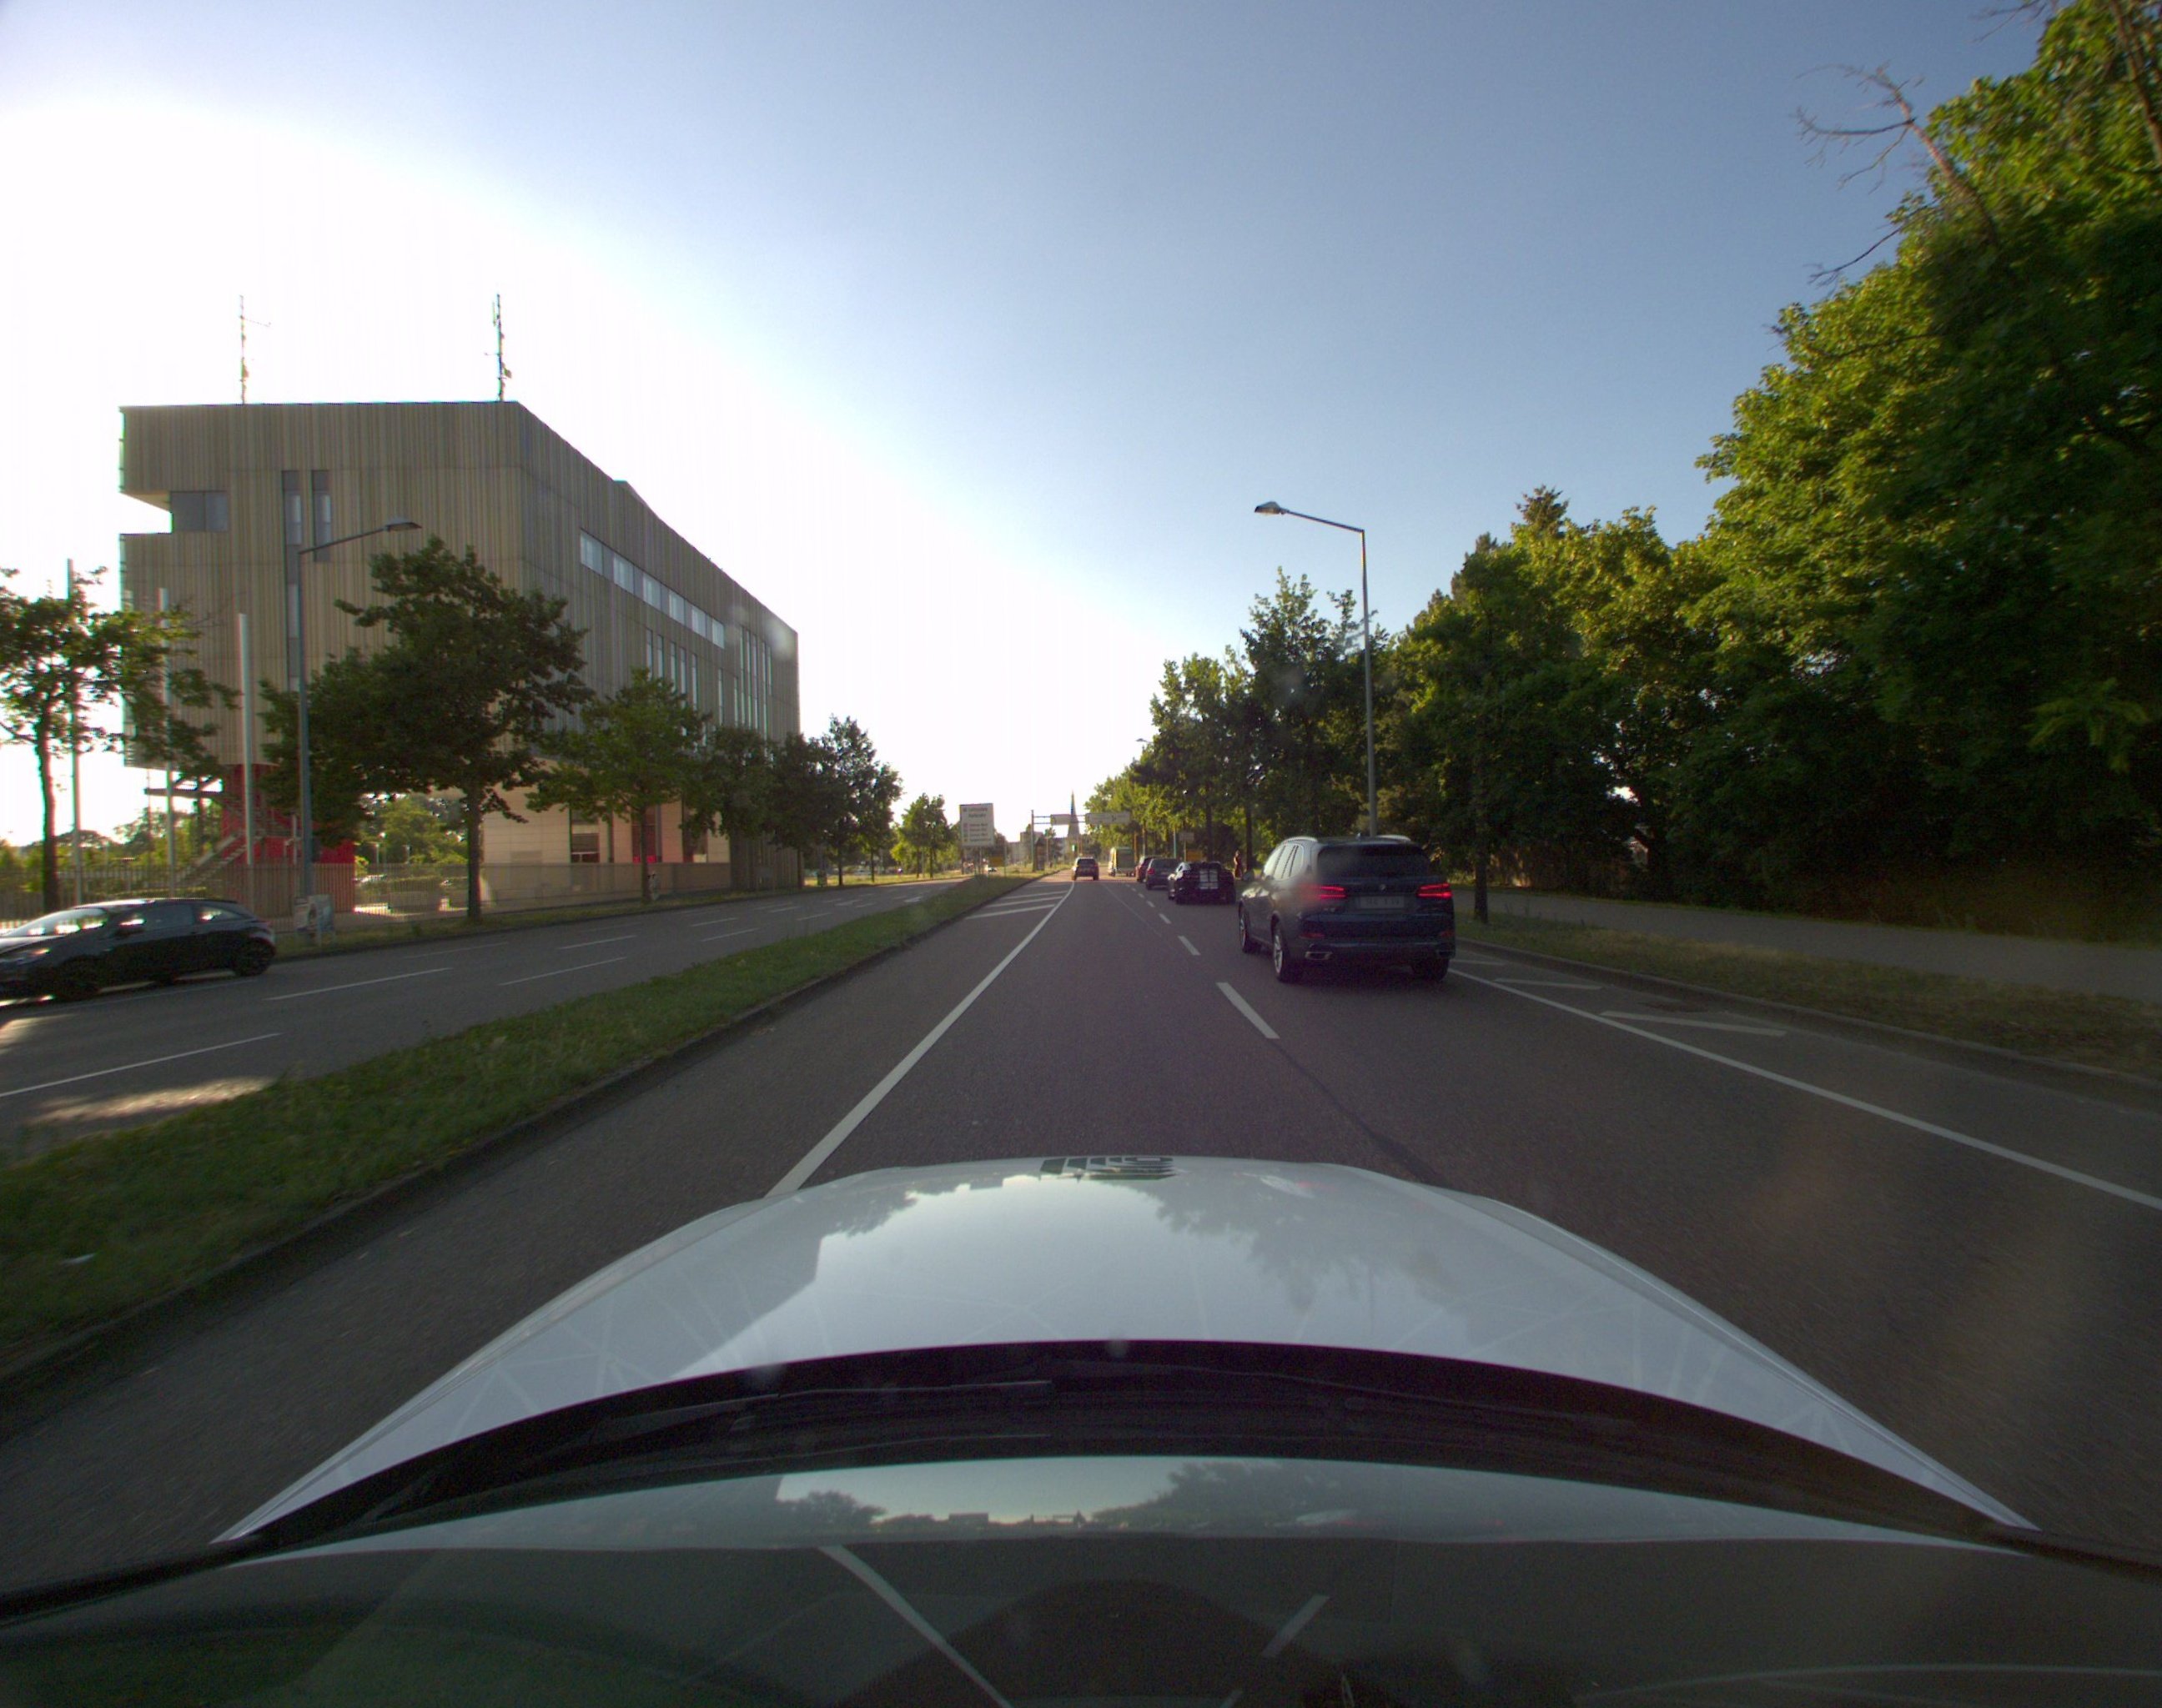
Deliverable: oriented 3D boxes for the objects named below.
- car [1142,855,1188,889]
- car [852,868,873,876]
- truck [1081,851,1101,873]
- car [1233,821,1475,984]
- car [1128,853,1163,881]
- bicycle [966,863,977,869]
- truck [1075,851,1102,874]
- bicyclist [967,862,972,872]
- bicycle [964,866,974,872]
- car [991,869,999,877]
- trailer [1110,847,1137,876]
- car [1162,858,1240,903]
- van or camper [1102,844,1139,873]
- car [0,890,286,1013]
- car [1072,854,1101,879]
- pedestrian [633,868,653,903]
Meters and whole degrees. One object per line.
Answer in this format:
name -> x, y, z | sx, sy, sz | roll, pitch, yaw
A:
car -> 3.876, 0.808, 38.068 | 1.742, 1.473, 3.819 | -2, 0, 0
car -> -45.583, 3.691, 169.817 | 3.730, 1.508, 1.852 | -2, 0, -43
truck -> 1.235, 0.965, 99.928 | 2.214, 2.651, 4.770 | -2, 0, -2
car -> 3.367, 0.563, 11.115 | 1.946, 1.727, 4.703 | -1, -1, 3
car -> 3.830, 0.802, 49.055 | 1.742, 1.621, 3.817 | 0, -2, -1
bicycle -> -21.507, 2.346, 159.843 | 1.898, 1.019, 0.505 | -1, -1, 6
truck -> 0.893, 0.989, 98.119 | 2.577, 2.558, 6.239 | -2, 0, -6
bicyclist -> -21.635, 2.533, 158.553 | 0.807, 1.770, 0.498 | -1, -1, 14
bicycle -> -21.783, 2.946, 158.589 | 1.894, 1.020, 0.506 | -1, -1, 14
car -> -17.990, 3.953, 170.740 | 1.559, 1.575, 3.408 | -2, 0, -3
trailer -> 3.664, 0.643, 70.526 | 2.083, 2.400, 3.500 | -1, -1, 0
car -> 3.867, 0.820, 26.919 | 1.849, 1.338, 4.623 | -1, 0, -1
van or camper -> 3.621, 0.424, 76.438 | 2.283, 2.629, 6.565 | -1, 0, -8
car -> -15.486, 1.444, 13.090 | 1.591, 1.512, 3.865 | -2, 0, -1
car -> 0.369, 0.867, 58.383 | 1.900, 1.660, 3.997 | -2, -1, -2
pedestrian -> -23.889, 1.708, 44.441 | 0.630, 1.841, 0.716 | -2, -1, 0
